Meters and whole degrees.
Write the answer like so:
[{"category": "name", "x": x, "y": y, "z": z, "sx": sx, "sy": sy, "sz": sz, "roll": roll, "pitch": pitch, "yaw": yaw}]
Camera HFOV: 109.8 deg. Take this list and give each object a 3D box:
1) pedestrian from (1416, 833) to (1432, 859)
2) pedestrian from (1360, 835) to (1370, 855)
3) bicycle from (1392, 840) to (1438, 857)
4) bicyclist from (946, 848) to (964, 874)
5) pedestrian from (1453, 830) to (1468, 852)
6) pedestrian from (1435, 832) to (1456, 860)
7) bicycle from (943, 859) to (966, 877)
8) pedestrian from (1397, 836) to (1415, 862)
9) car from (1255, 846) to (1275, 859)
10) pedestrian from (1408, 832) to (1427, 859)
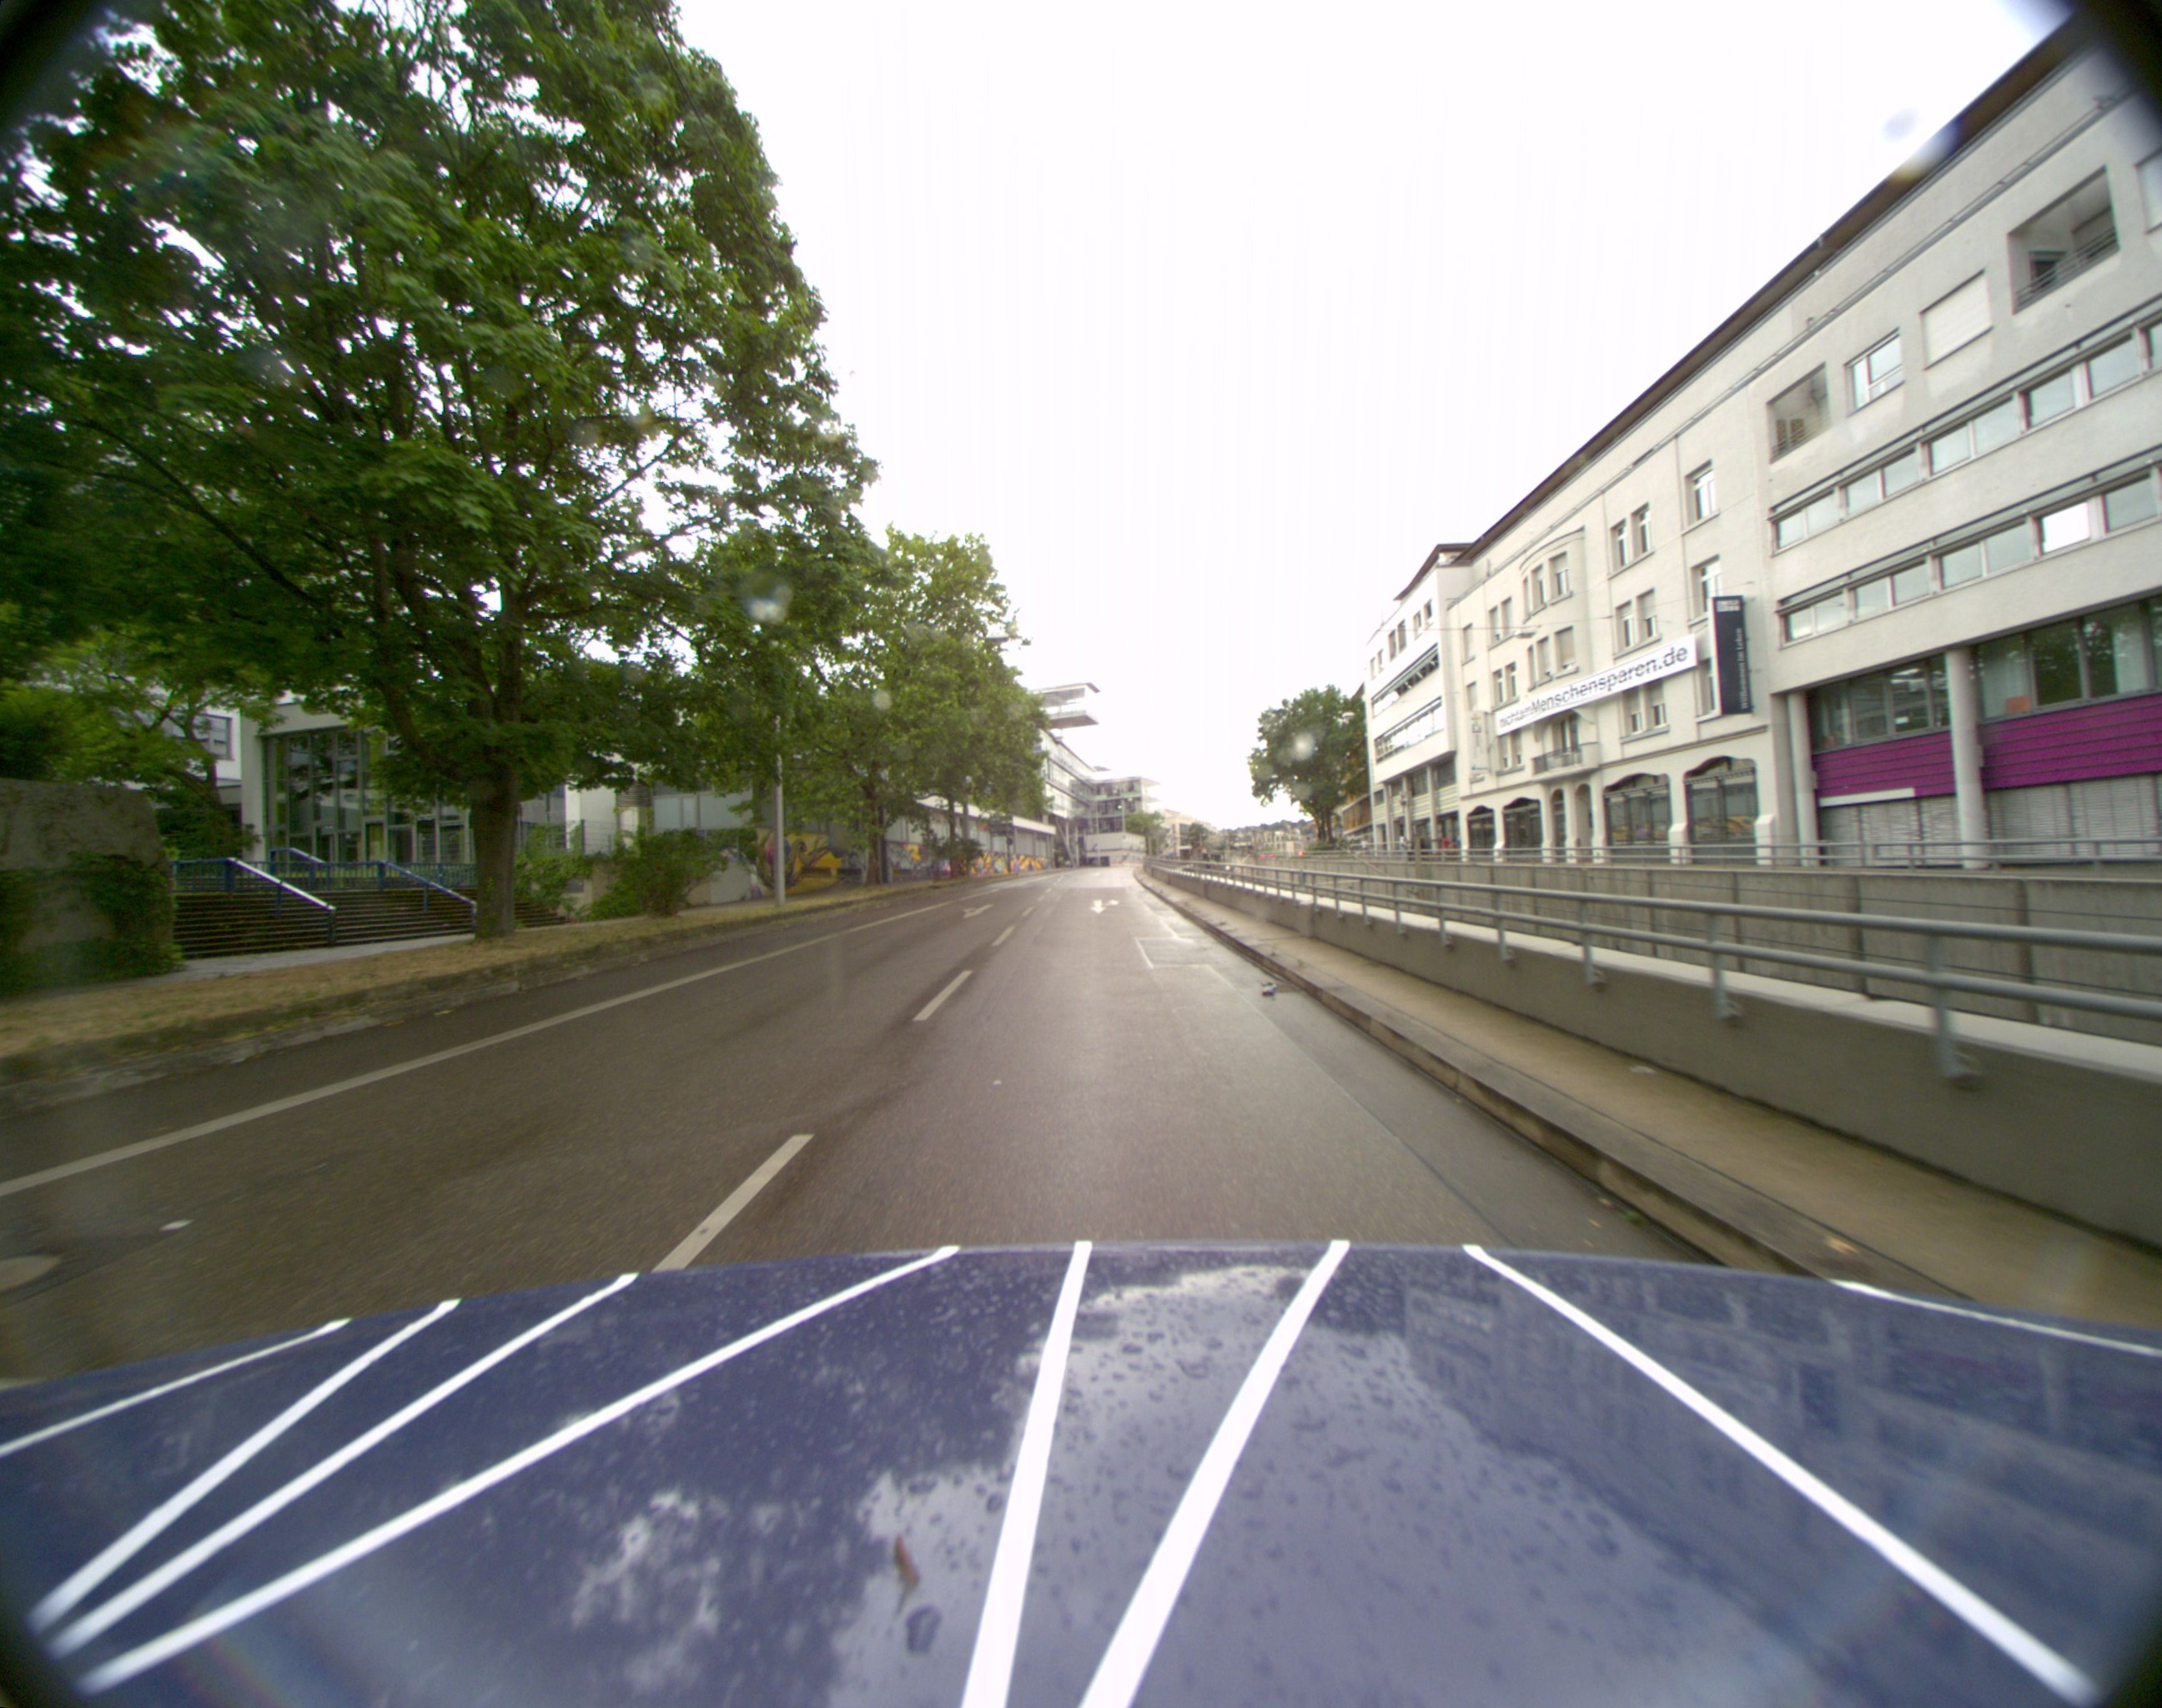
[{"category": "pedestrian", "x": 22.395, "y": -0.523, "z": 49.590, "sx": 0.675, "sy": 1.712, "sz": 0.608, "roll": -3, "pitch": 0, "yaw": -39}, {"category": "pedestrian", "x": 26.684, "y": -0.846, "z": 71.376, "sx": 0.666, "sy": 1.838, "sz": 0.831, "roll": -1, "pitch": 0, "yaw": 10}, {"category": "bicycle", "x": 24.197, "y": -0.411, "z": 55.175, "sx": 1.696, "sy": 1.037, "sz": 4.522, "roll": -3, "pitch": 1, "yaw": 5}, {"category": "bicyclist", "x": -8.308, "y": 0.458, "z": 50.037, "sx": 0.808, "sy": 1.618, "sz": 1.047, "roll": -2, "pitch": 1, "yaw": 8}, {"category": "pedestrian", "x": 24.548, "y": -0.850, "z": 49.213, "sx": 0.608, "sy": 1.410, "sz": 0.674, "roll": -3, "pitch": 0, "yaw": 6}, {"category": "pedestrian", "x": 22.308, "y": -0.480, "z": 46.536, "sx": 0.674, "sy": 1.606, "sz": 0.941, "roll": -3, "pitch": 0, "yaw": -14}, {"category": "bicycle", "x": -8.296, "y": 0.902, "z": 49.958, "sx": 0.808, "sy": 1.105, "sz": 2.199, "roll": -2, "pitch": 1, "yaw": 8}, {"category": "pedestrian", "x": 21.433, "y": -0.335, "z": 50.095, "sx": 0.675, "sy": 1.633, "sz": 0.793, "roll": -3, "pitch": 0, "yaw": -42}, {"category": "car", "x": 25.648, "y": -0.165, "z": 106.133, "sx": 1.841, "sy": 1.703, "sz": 4.578, "roll": -2, "pitch": 0, "yaw": 3}, {"category": "pedestrian", "x": 22.444, "y": -0.569, "z": 50.718, "sx": 0.674, "sy": 1.774, "sz": 0.941, "roll": -3, "pitch": 0, "yaw": -14}]
